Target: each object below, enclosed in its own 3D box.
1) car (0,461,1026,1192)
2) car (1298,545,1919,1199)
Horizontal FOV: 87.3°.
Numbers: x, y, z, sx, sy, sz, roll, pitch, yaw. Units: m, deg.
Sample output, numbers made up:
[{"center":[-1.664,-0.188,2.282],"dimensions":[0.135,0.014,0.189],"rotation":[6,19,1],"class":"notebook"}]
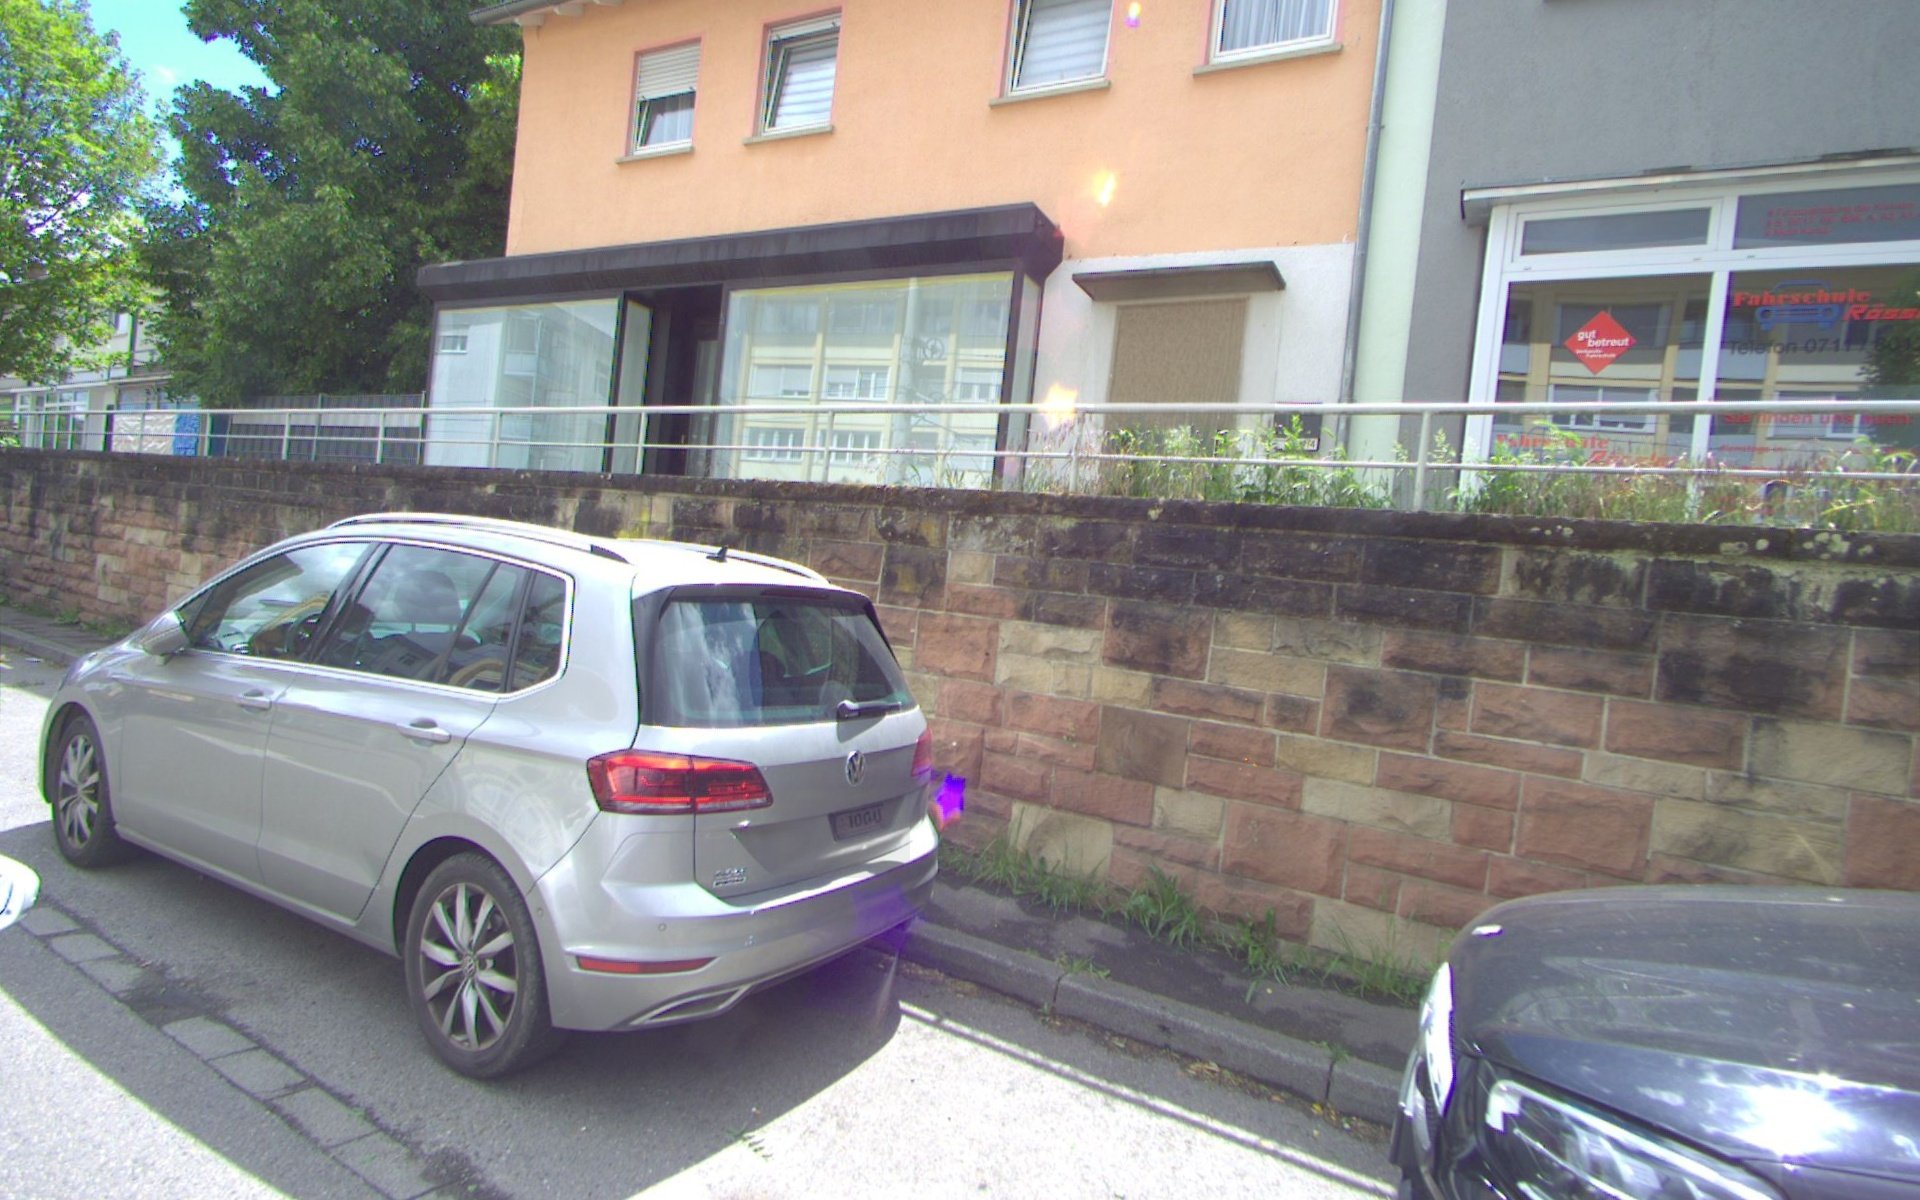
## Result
[{"center":[-2.055,0.441,4.223],"dimensions":[4.177,1.638,1.791],"rotation":[6,1,31],"class":"car"},{"center":[2.812,0.982,1.095],"dimensions":[4.373,1.639,1.791],"rotation":[6,2,31],"class":"car"}]
